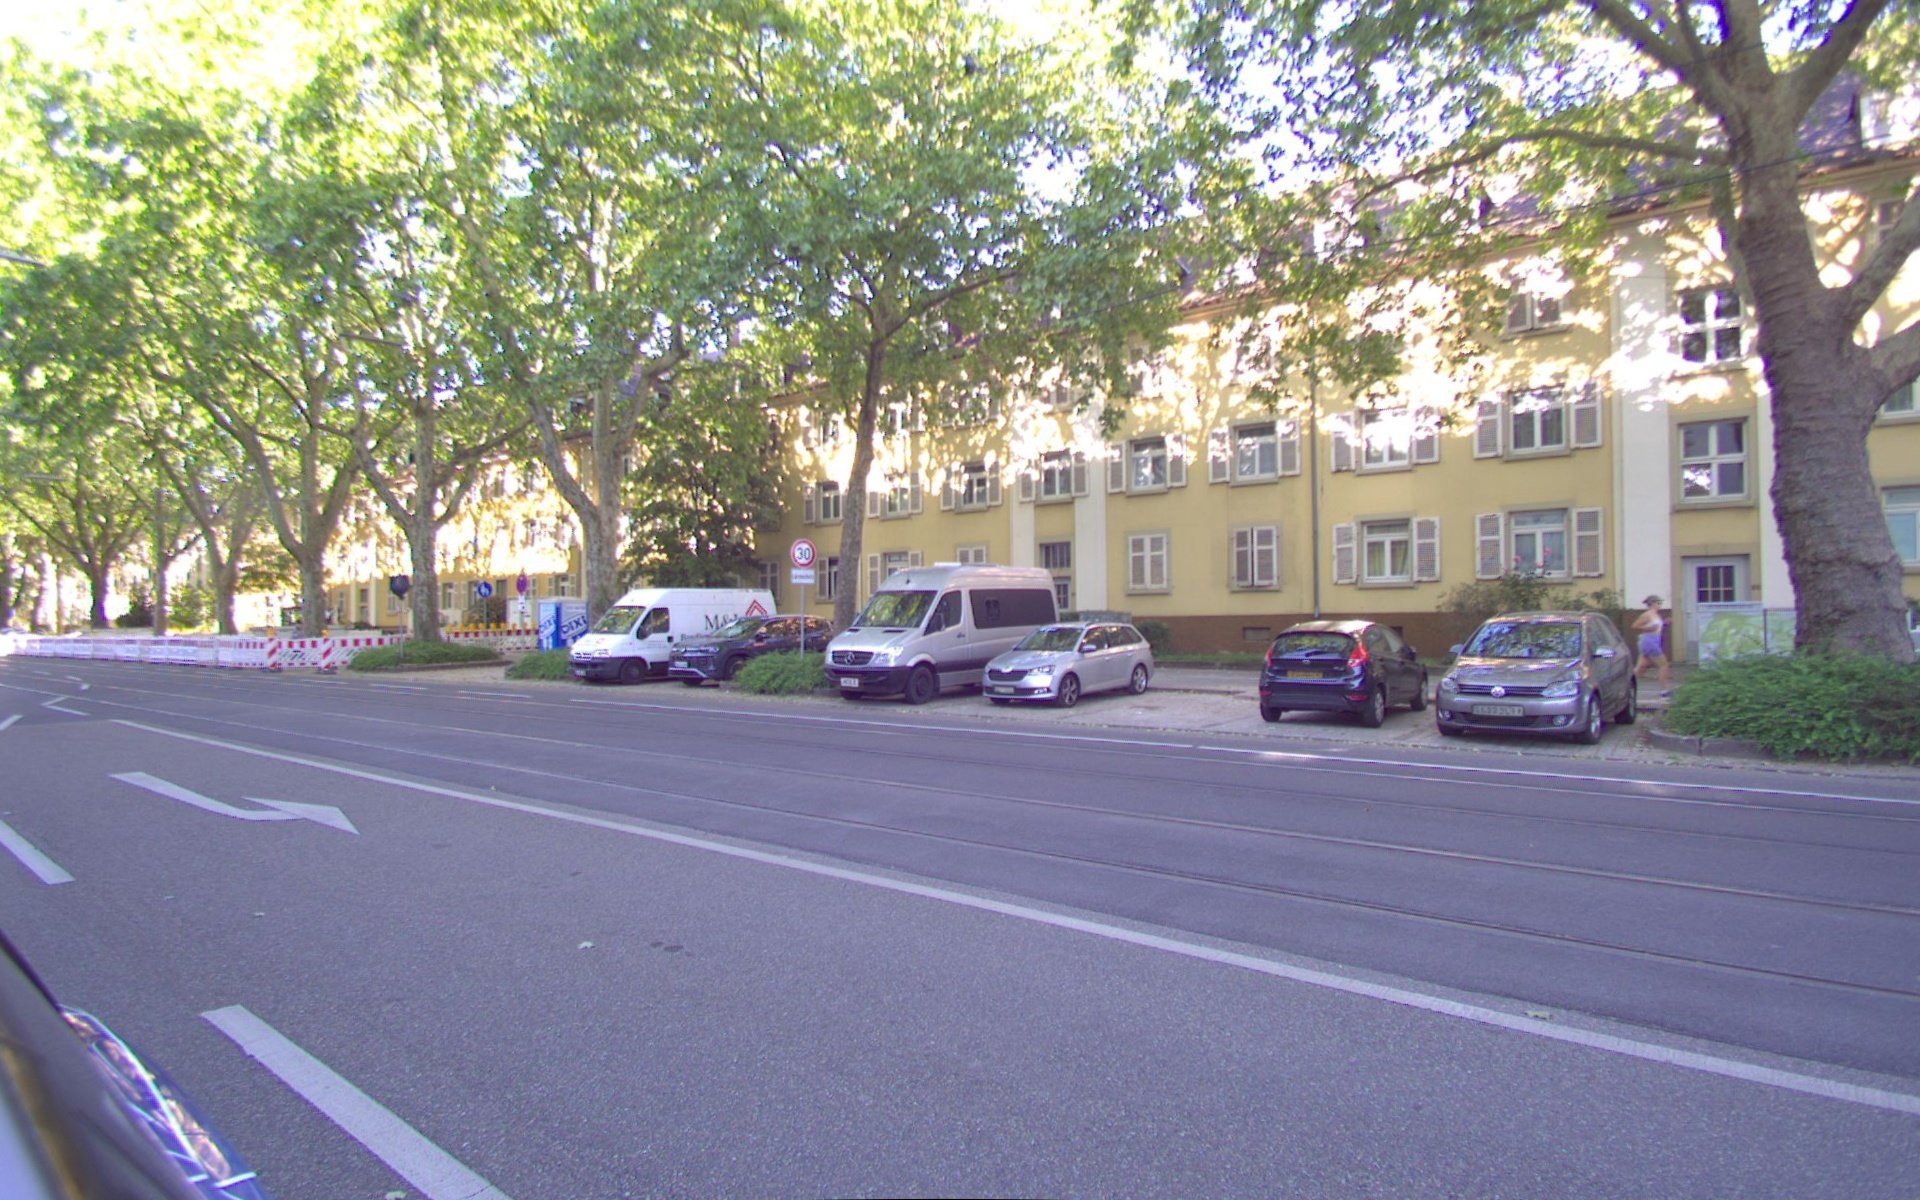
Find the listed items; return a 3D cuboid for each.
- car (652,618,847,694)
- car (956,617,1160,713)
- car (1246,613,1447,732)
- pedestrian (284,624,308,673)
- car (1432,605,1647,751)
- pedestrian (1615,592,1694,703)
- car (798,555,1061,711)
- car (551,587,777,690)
[{"bbox_3d":[-4.974,1.280,24.437,1.772,1.664,4.570,-2,-2,38],"label":"car"},{"bbox_3d":[1.917,1.124,18.826,1.773,1.509,4.031,-2,-1,41],"label":"car"},{"bbox_3d":[5.971,1.004,15.409,1.671,1.509,3.756,-2,-1,41],"label":"car"},{"bbox_3d":[-24.156,1.759,36.832,0.573,1.759,0.654,-1,0,-17],"label":"pedestrian"},{"bbox_3d":[7.749,0.901,13.358,1.672,1.592,3.928,-2,-1,41],"label":"car"},{"bbox_3d":[10.888,0.719,15.863,0.954,1.673,0.764,-1,0,39],"label":"pedestrian"},{"bbox_3d":[-0.422,0.612,20.437,2.221,2.702,5.596,-2,-1,38],"label":"car"},{"bbox_3d":[-7.557,0.969,26.364,2.222,2.394,5.336,-2,-2,40],"label":"car"}]
